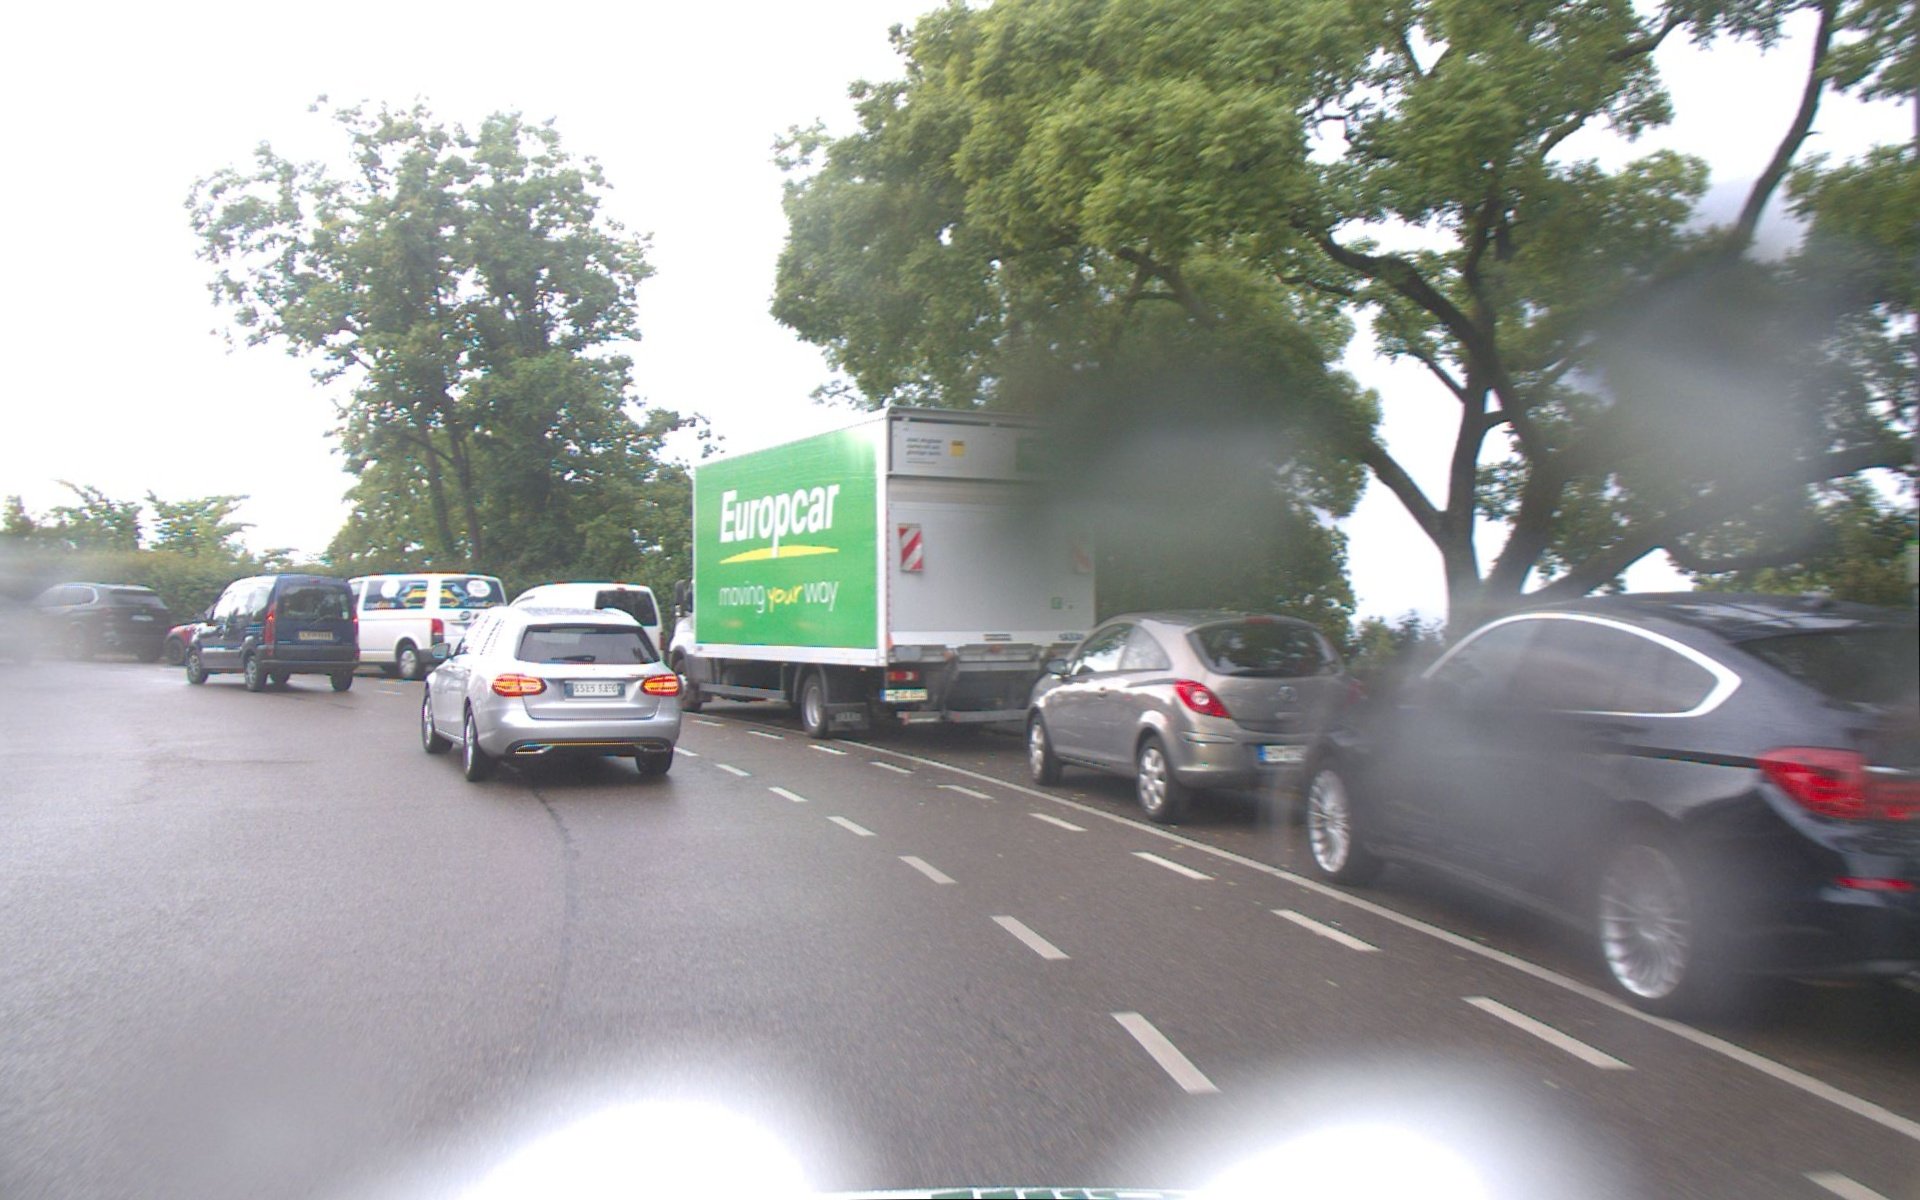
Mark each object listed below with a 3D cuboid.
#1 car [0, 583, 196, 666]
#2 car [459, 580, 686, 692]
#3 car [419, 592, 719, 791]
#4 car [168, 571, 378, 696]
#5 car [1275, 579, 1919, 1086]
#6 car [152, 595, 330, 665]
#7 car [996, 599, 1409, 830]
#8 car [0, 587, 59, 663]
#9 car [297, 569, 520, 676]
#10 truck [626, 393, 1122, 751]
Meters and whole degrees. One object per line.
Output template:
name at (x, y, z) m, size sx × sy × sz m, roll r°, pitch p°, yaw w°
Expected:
car at (-20.476, 0.564, 39.043) m, size 4.792 × 1.814 × 2.029 m, roll 1°, pitch -2°, yaw 31°
car at (-6.783, 0.572, 28.722) m, size 4.306 × 1.801 × 1.852 m, roll 0°, pitch 0°, yaw 45°
car at (-3.802, 0.735, 15.505) m, size 1.957 × 1.581 × 4.264 m, roll 0°, pitch 0°, yaw -25°
car at (-11.563, 0.543, 27.715) m, size 4.026 × 1.915 × 1.817 m, roll -1°, pitch 1°, yaw 45°
car at (3.186, 0.705, 7.687) m, size 1.826 × 1.569 × 4.884 m, roll 0°, pitch 0°, yaw -9°
car at (-15.828, 0.652, 36.415) m, size 3.659 × 1.439 × 1.674 m, roll 1°, pitch -2°, yaw 29°
car at (1.756, 0.774, 13.398) m, size 1.706 × 1.529 × 4.115 m, roll -1°, pitch 0°, yaw -17°
car at (-20.495, 0.547, 33.980) m, size 4.010 × 1.484 × 1.854 m, roll -2°, pitch 0°, yaw 34°
car at (-10.967, 0.411, 32.773) m, size 4.713 × 1.982 × 1.858 m, roll 0°, pitch 0°, yaw 37°
truck at (-1.565, -0.310, 20.870) m, size 2.742 × 3.531 × 8.850 m, roll -1°, pitch 1°, yaw -28°
